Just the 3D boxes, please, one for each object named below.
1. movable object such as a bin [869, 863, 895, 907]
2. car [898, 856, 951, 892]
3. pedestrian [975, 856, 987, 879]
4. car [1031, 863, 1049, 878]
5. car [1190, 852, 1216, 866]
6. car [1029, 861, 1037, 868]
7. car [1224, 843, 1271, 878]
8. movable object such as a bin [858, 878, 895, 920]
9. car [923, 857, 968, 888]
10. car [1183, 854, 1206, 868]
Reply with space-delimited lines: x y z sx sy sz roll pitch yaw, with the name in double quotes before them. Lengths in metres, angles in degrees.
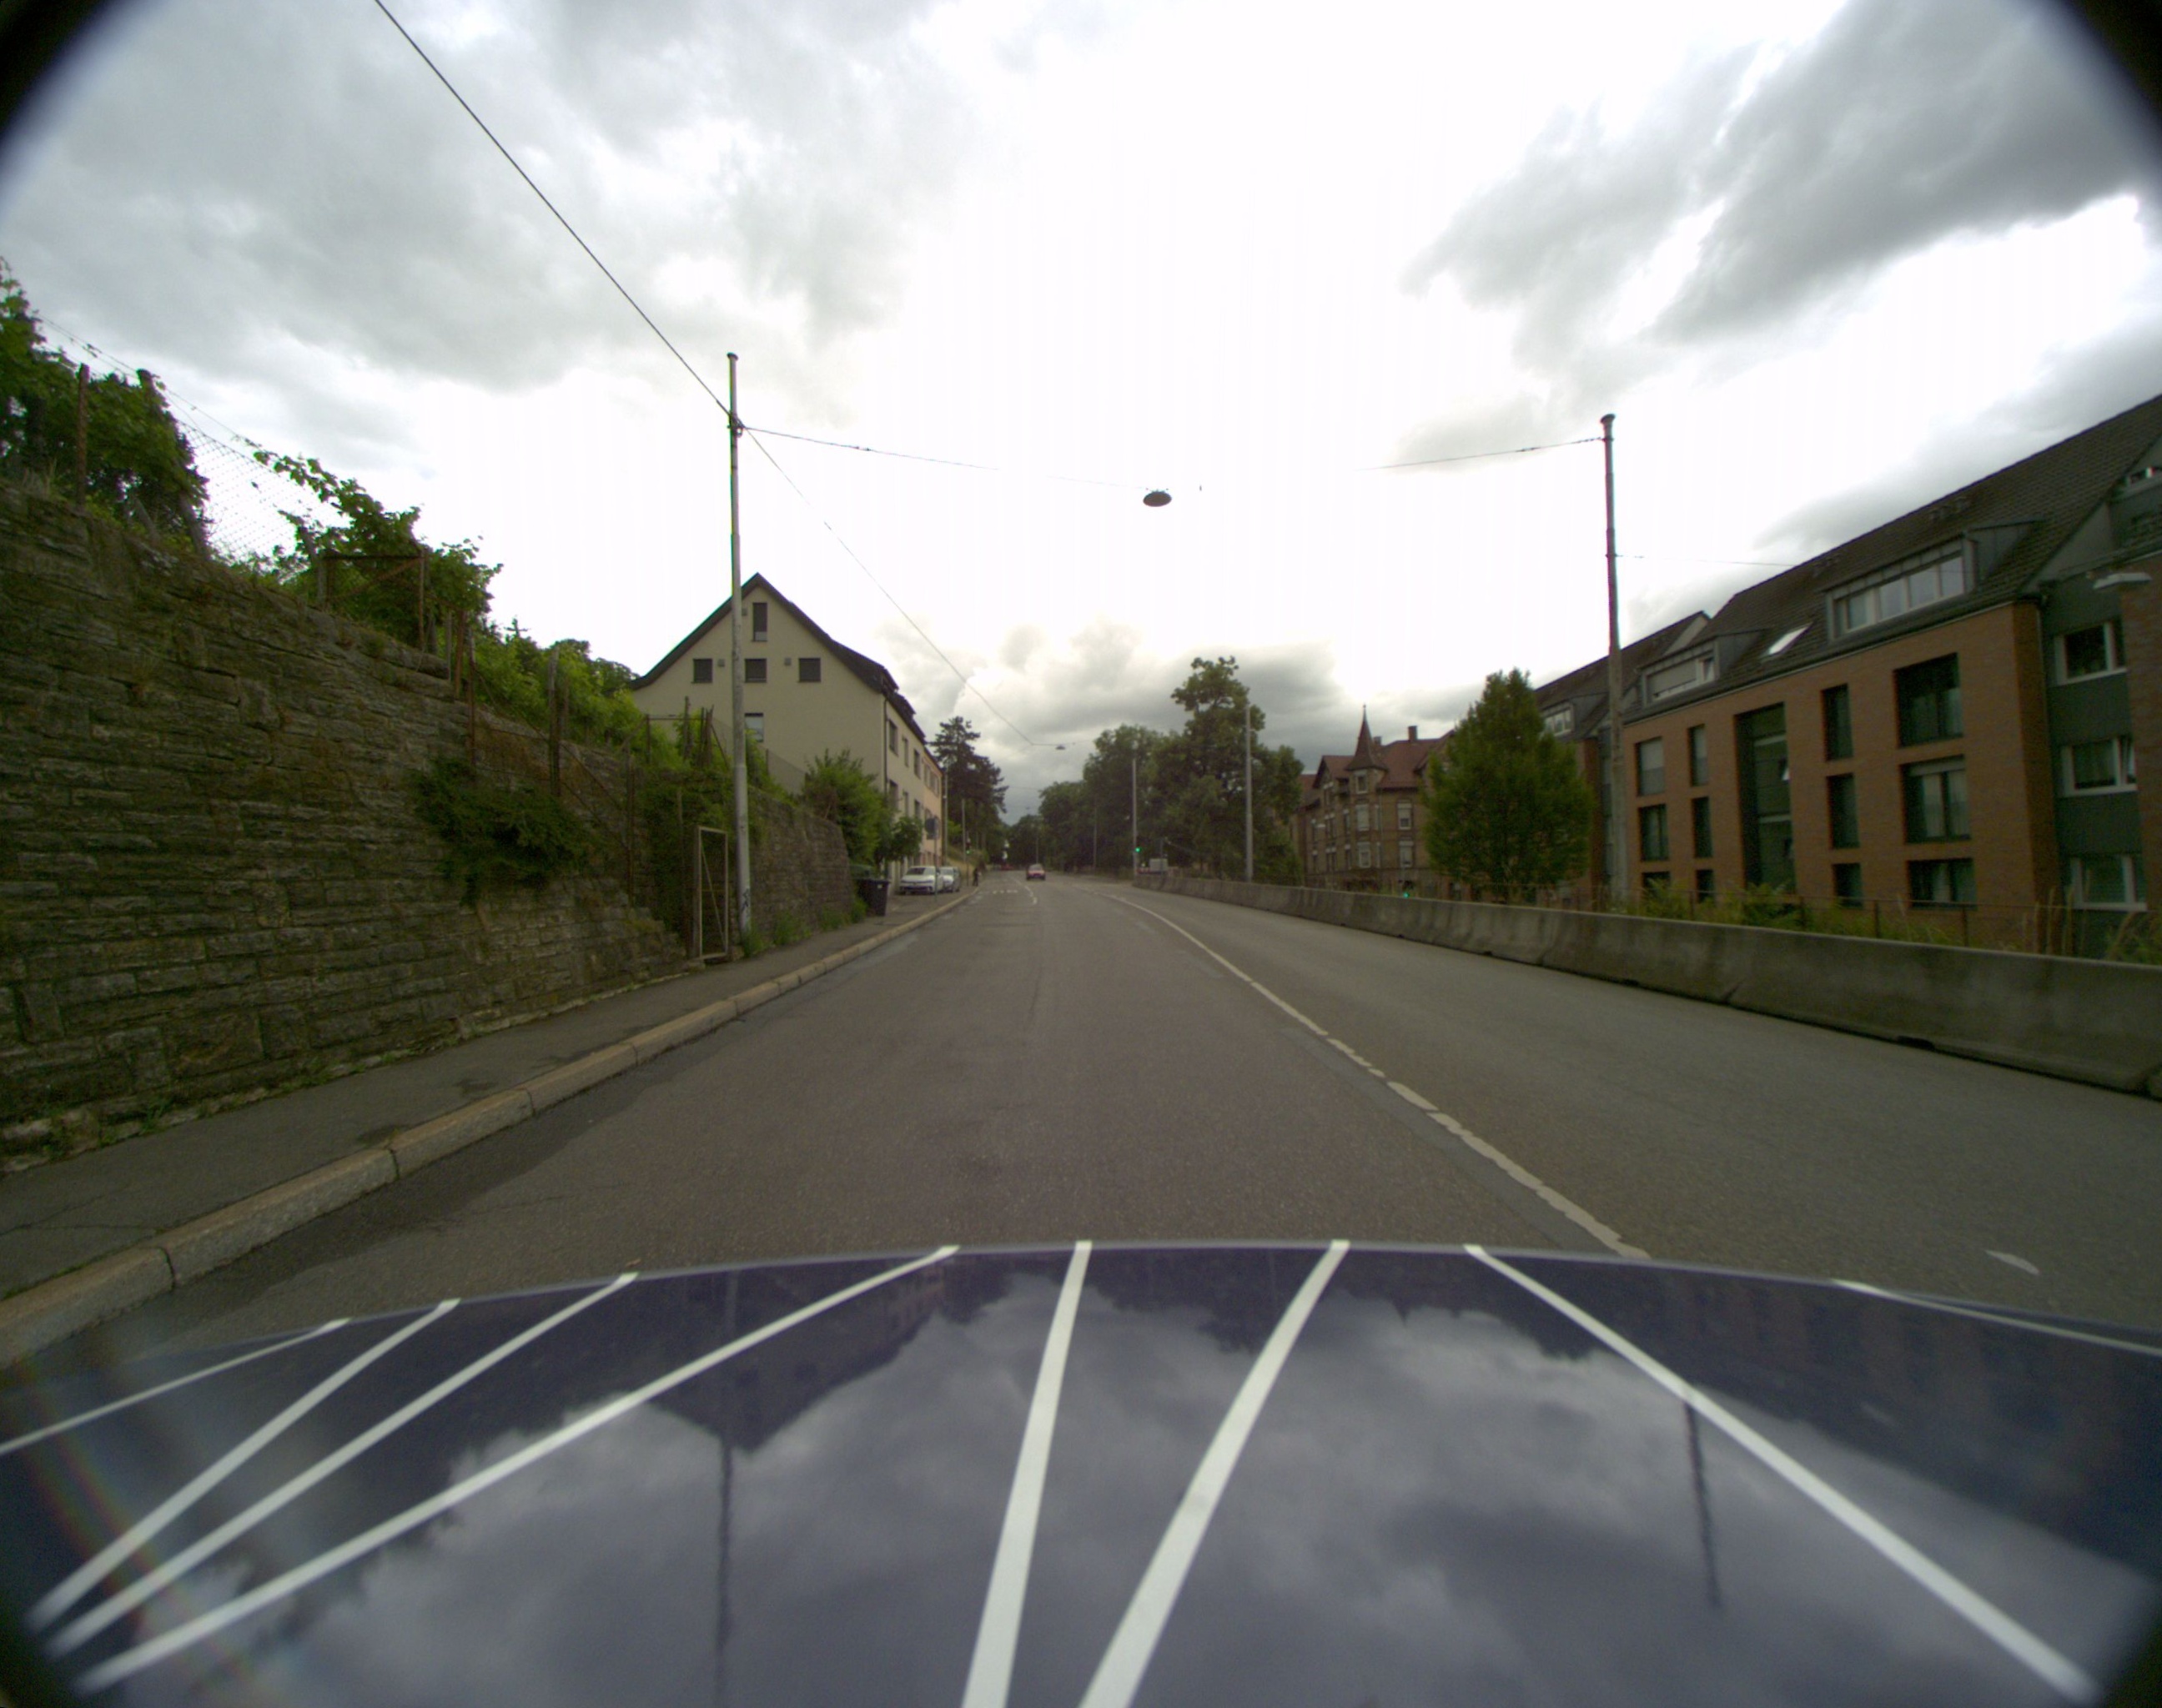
"movable object such as a bin" -7.092 1.083 27.125 0.753 1.533 1.064 -2 0 -8
"car" -7.725 0.957 37.877 1.799 1.566 4.055 -3 1 -1
"pedestrian" -7.513 0.982 56.960 0.735 1.702 0.696 -2 0 2
"car" -3.999 1.592 73.568 1.646 1.429 3.999 -1 -1 -3
"car" 12.735 0.524 79.560 1.999 1.346 4.000 0 0 0
"car" -12.463 2.655 198.372 1.999 1.838 3.999 -2 0 -3
"car" 13.041 0.457 60.004 2.565 2.567 5.736 -3 1 2
"movable object such as a bin" -5.713 1.245 21.264 0.811 1.120 0.874 -2 0 -2
"car" -7.570 1.007 42.839 1.732 1.566 4.248 -3 1 -1
"car" 13.497 0.828 90.526 1.999 1.543 4.000 -1 0 0
